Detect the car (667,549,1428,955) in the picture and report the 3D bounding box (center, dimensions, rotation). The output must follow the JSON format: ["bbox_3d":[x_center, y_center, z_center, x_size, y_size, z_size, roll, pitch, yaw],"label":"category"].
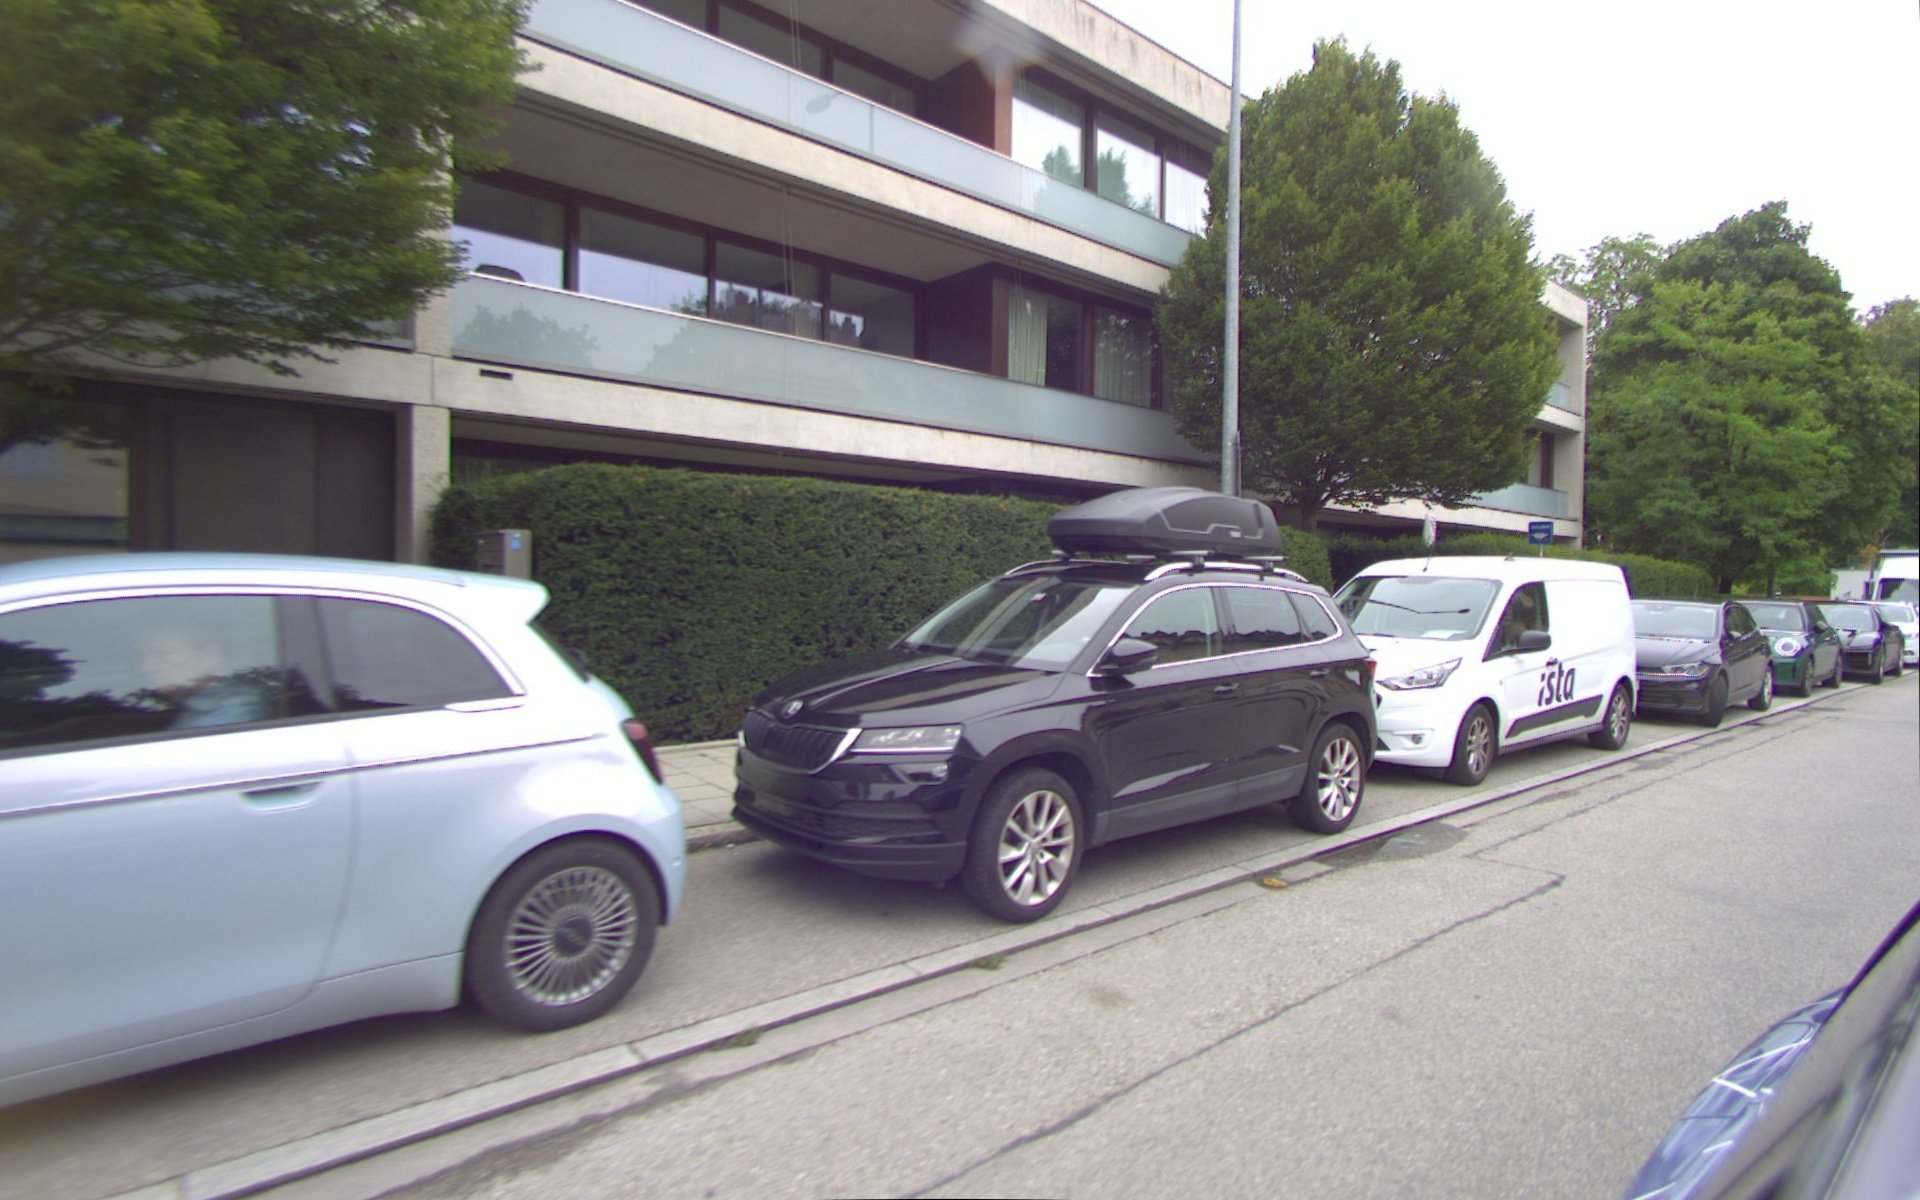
[{"bbox_3d":[0.813,0.563,5.888,4.517,1.499,1.751,1,1,-41],"label":"car"}]

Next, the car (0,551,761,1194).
[{"bbox_3d":[-2.737,0.607,3.067,3.820,1.499,1.751,0,1,-41],"label":"car"}]

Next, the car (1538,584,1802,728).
[{"bbox_3d":[9.110,0.597,12.856,4.168,1.482,1.751,0,2,-41],"label":"car"}]

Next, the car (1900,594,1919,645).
[{"bbox_3d":[31.388,0.667,32.047,4.754,1.525,1.874,1,3,-42],"label":"car"}]

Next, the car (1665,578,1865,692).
[{"bbox_3d":[13.048,0.499,16.327,4.130,1.547,1.731,1,3,-41],"label":"car"}]

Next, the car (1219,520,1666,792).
[{"bbox_3d":[4.598,0.396,9.256,4.810,1.884,1.826,1,0,-39],"label":"car"}]

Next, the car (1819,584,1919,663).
[{"bbox_3d":[21.765,0.531,23.751,4.918,1.588,1.873,1,3,-44],"label":"car"}]

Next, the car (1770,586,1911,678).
[{"bbox_3d":[17.212,0.576,19.687,5.115,1.524,1.284,1,3,-41],"label":"car"}]

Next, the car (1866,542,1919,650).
[{"bbox_3d":[26.888,-0.047,27.910,5.983,2.719,2.083,1,3,-42],"label":"car"}]

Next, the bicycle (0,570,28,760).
[{"bbox_3d":[-6.262,0.437,5.793,0.876,1.209,2.042,1,2,-28],"label":"bicycle"}]
